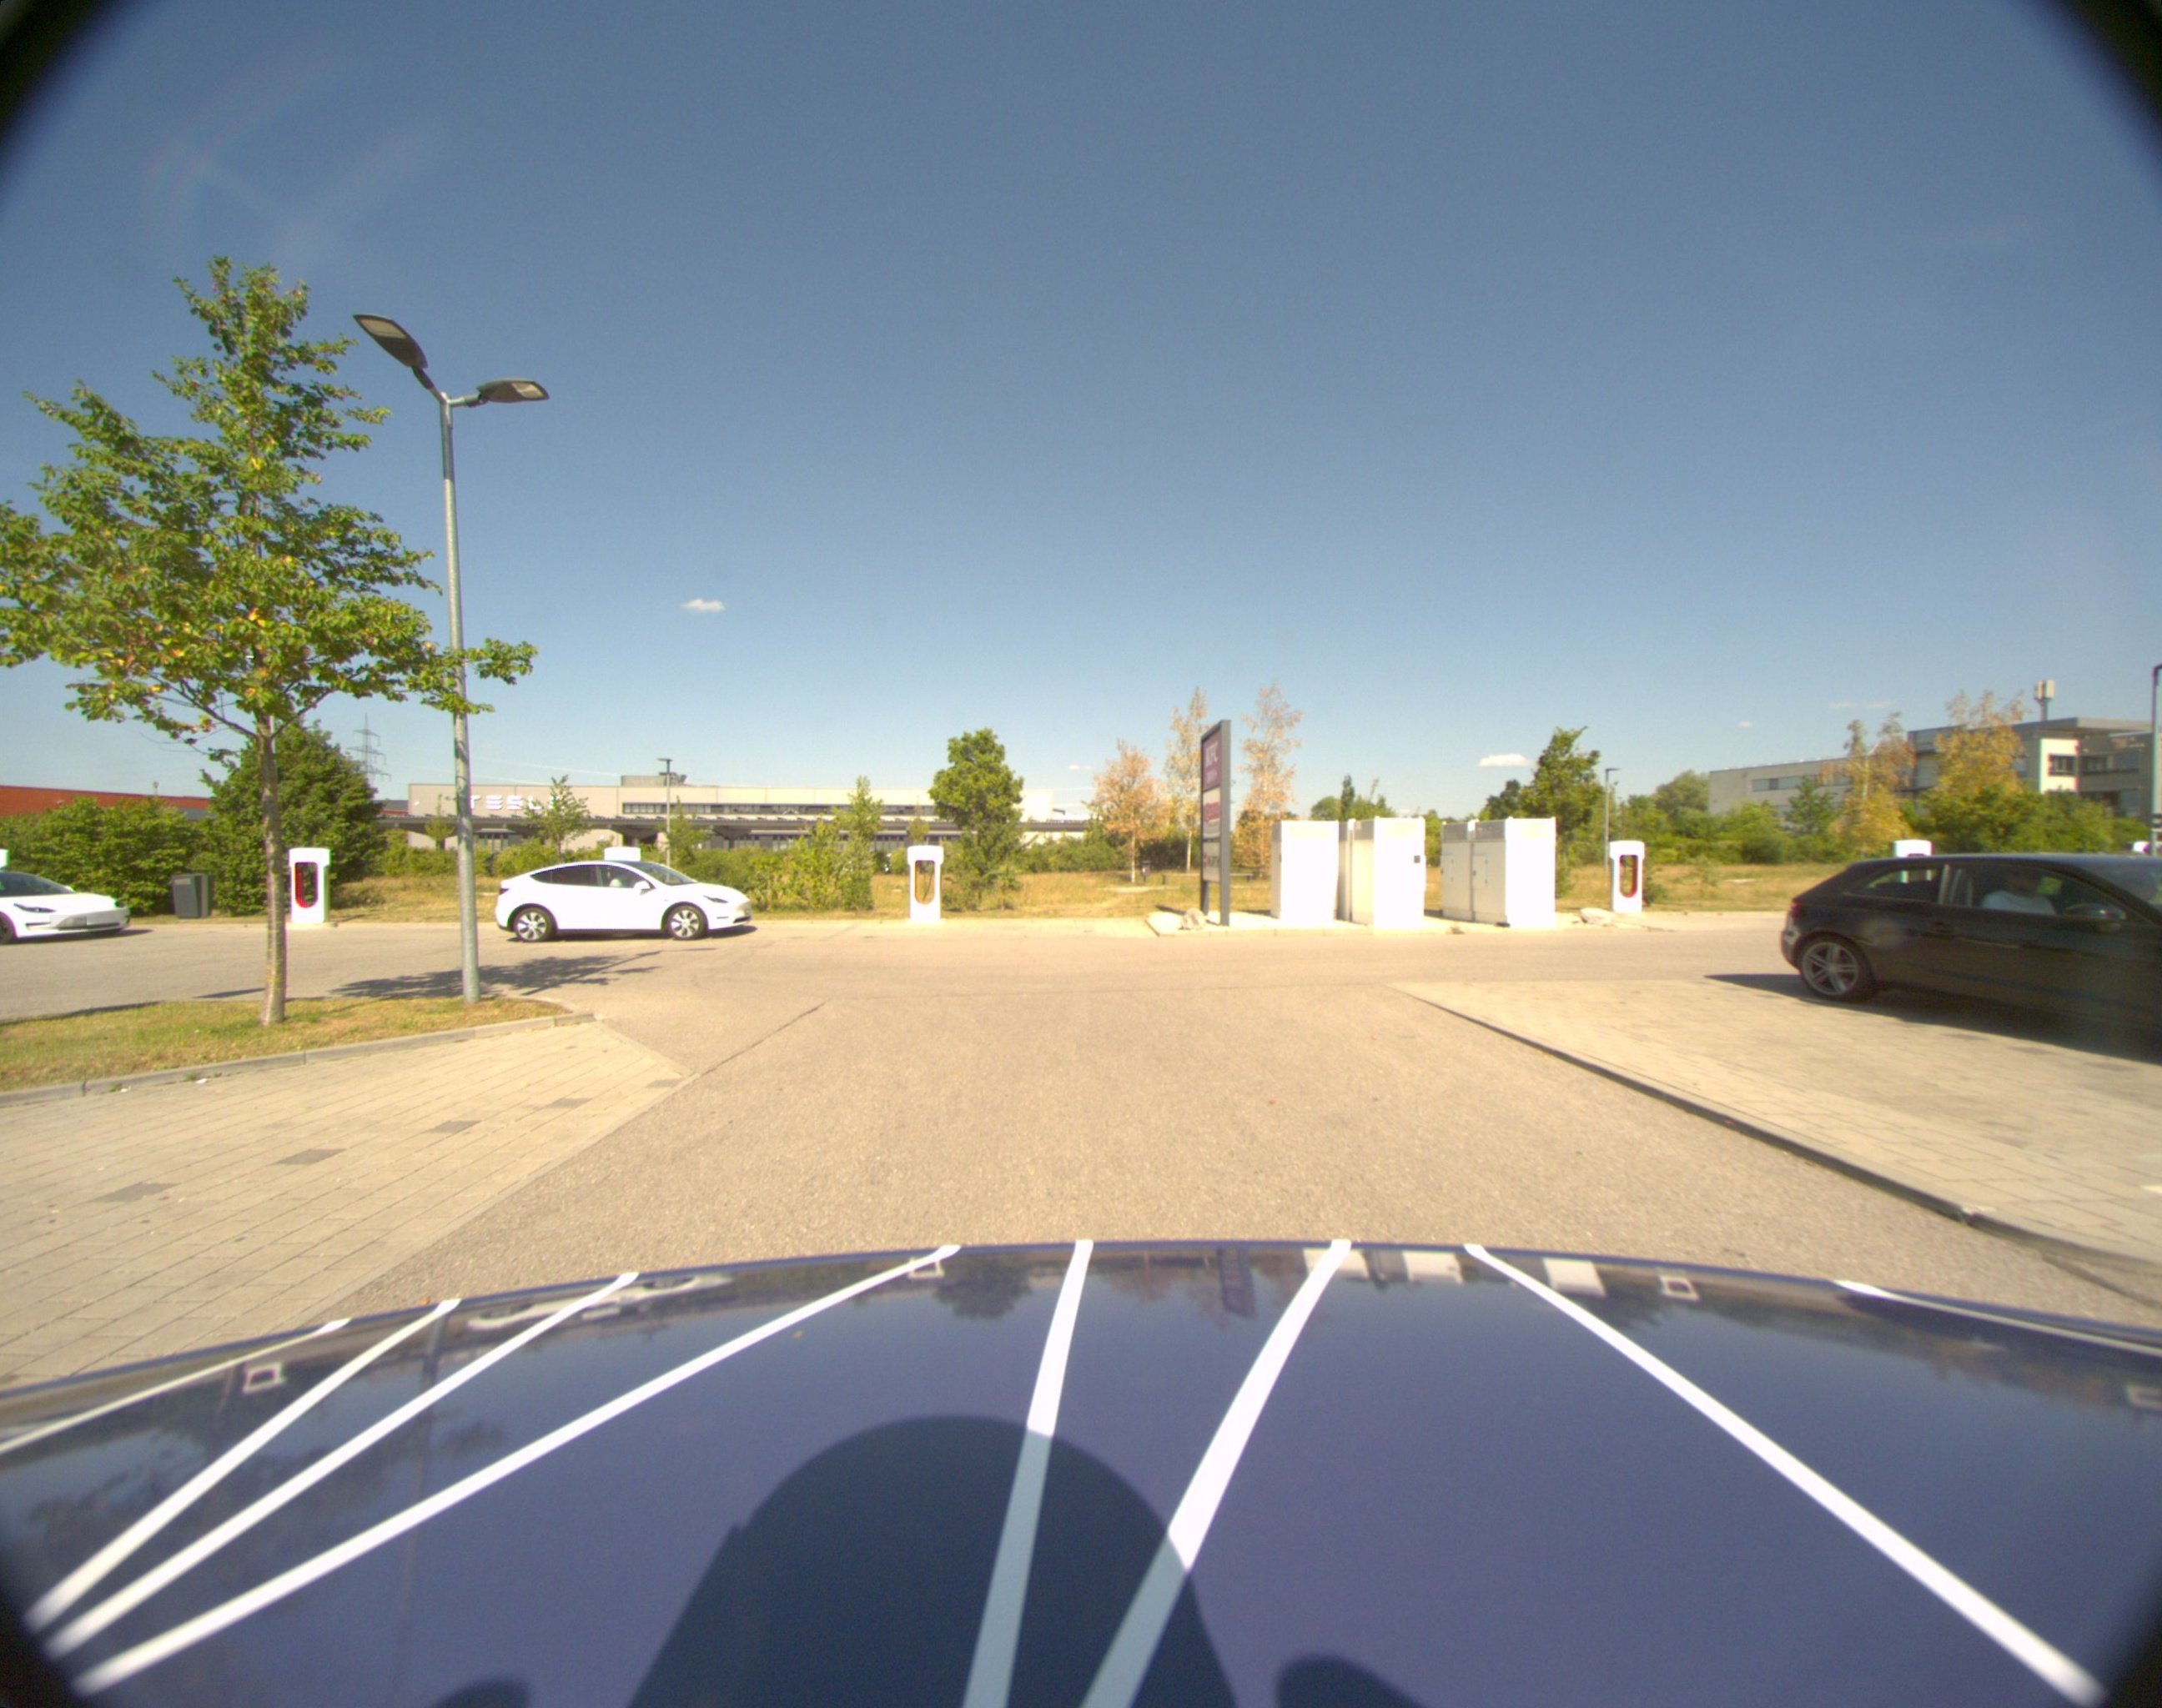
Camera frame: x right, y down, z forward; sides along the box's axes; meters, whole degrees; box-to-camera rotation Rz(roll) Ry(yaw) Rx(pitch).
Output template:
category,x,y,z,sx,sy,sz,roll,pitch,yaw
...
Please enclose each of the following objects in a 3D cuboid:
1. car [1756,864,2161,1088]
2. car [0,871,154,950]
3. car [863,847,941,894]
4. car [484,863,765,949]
category,x,y,z,sx,sy,sz,roll,pitch,yaw
car,7.999,0.836,5.812,1.728,1.403,4.313,-1,1,-2
car,-22.258,1.120,15.495,4.330,1.470,1.842,0,1,-1
car,-7.247,0.618,31.188,1.917,1.740,4.257,-1,1,4
car,-9.195,1.010,15.650,4.575,1.584,1.841,0,1,-5
